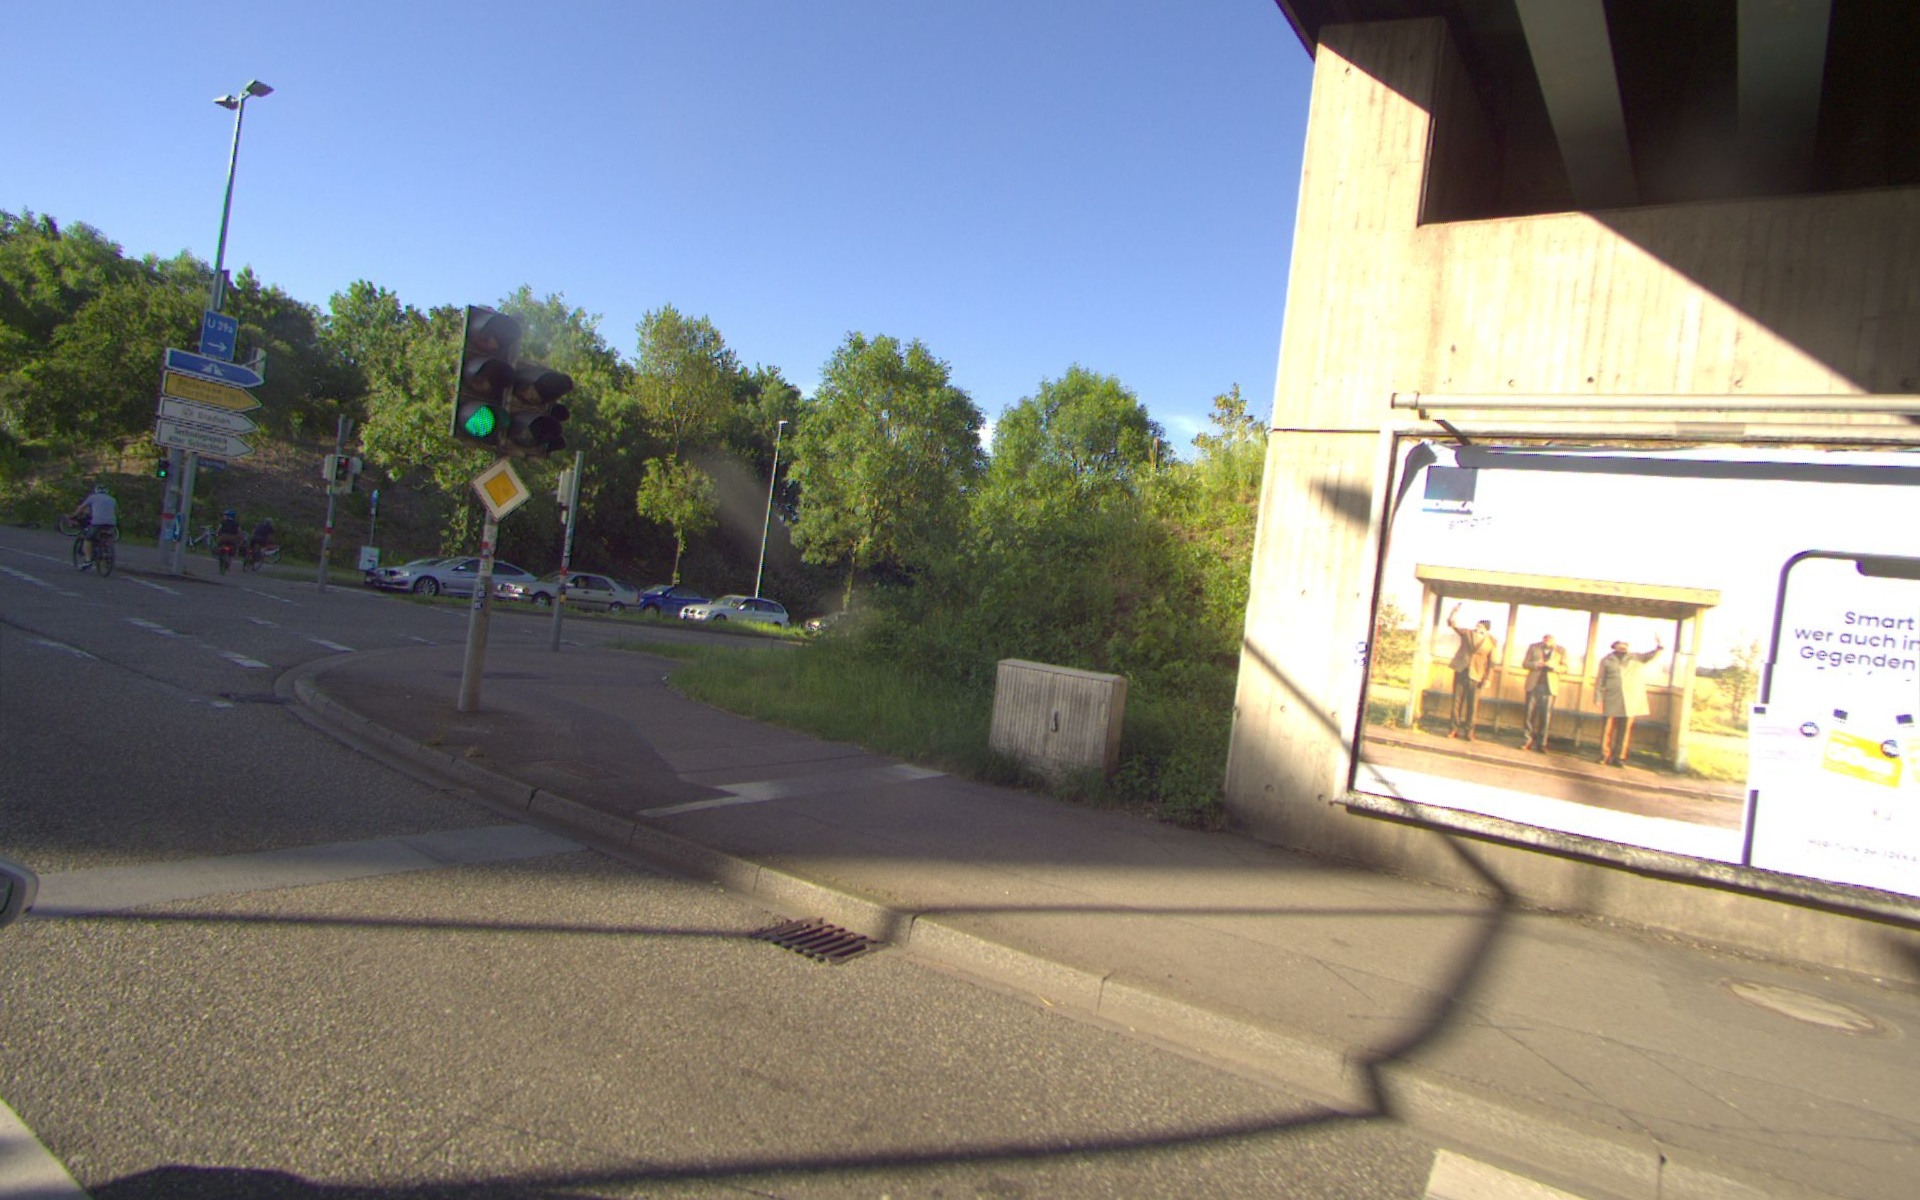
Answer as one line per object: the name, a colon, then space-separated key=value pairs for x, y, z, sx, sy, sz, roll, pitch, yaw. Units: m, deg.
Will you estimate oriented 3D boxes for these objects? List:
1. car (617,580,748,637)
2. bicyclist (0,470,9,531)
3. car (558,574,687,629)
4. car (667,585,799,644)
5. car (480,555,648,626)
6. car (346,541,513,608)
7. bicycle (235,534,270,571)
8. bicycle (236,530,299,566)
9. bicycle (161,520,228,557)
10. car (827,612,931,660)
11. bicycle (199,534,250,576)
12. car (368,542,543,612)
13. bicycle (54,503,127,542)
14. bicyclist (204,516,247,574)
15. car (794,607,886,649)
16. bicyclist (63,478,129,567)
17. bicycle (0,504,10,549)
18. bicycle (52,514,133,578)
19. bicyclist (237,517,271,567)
car: x=-10.592 y=0.364 z=38.703 sx=1.801 sy=1.530 sz=4.551 roll=5 pitch=-4 yaw=38
bicyclist: x=-23.659 y=-2.362 z=24.322 sx=0.927 sy=1.631 sz=0.593 roll=6 pitch=-2 yaw=32
car: x=-13.333 y=0.078 z=39.997 sx=1.801 sy=1.530 sz=4.551 roll=5 pitch=-4 yaw=38
car: x=-8.274 y=0.574 z=37.018 sx=1.801 sy=1.530 sz=4.551 roll=5 pitch=-4 yaw=38
car: x=-12.387 y=-0.256 z=31.763 sx=1.801 sy=1.530 sz=4.551 roll=5 pitch=-4 yaw=38
car: x=-17.800 y=-0.831 z=33.951 sx=1.801 sy=1.530 sz=4.551 roll=5 pitch=-4 yaw=38
bicycle: x=-22.854 y=-1.539 z=32.522 sx=0.662 sy=1.036 sz=1.736 roll=7 pitch=2 yaw=-29
bicycle: x=-25.813 y=-1.936 z=37.525 sx=0.585 sy=1.034 sz=1.744 roll=5 pitch=-3 yaw=42
bicycle: x=-27.618 y=-2.223 z=36.325 sx=0.585 sy=1.034 sz=1.745 roll=5 pitch=-3 yaw=39
car: x=-3.483 y=1.591 z=44.072 sx=1.801 sy=1.530 sz=4.551 roll=5 pitch=-4 yaw=38
bicycle: x=-20.443 y=-1.260 z=27.947 sx=2.028 sy=1.035 sz=0.671 roll=5 pitch=-3 yaw=43
car: x=-16.017 y=-0.698 z=32.157 sx=1.801 sy=1.530 sz=4.551 roll=5 pitch=-4 yaw=38
bicycle: x=-30.183 y=-2.680 z=34.935 sx=0.585 sy=1.034 sz=1.745 roll=5 pitch=-3 yaw=39
bicyclist: x=-20.424 y=-1.528 z=27.970 sx=0.741 sy=1.491 sz=0.664 roll=5 pitch=-3 yaw=43
car: x=-5.948 y=1.416 z=50.288 sx=1.801 sy=1.530 sz=4.551 roll=5 pitch=-4 yaw=38
bicyclist: x=-16.389 y=-1.464 z=19.075 sx=0.756 sy=1.566 sz=0.593 roll=6 pitch=-2 yaw=32
bicycle: x=-23.721 y=-1.846 z=24.324 sx=1.722 sy=1.035 sz=0.593 roll=6 pitch=-3 yaw=33
bicycle: x=-16.517 y=-1.035 z=19.146 sx=1.722 sy=1.035 sz=0.593 roll=6 pitch=-3 yaw=33
bicyclist: x=-22.756 y=-1.877 z=32.438 sx=0.644 sy=1.498 sz=0.614 roll=8 pitch=-1 yaw=-28
